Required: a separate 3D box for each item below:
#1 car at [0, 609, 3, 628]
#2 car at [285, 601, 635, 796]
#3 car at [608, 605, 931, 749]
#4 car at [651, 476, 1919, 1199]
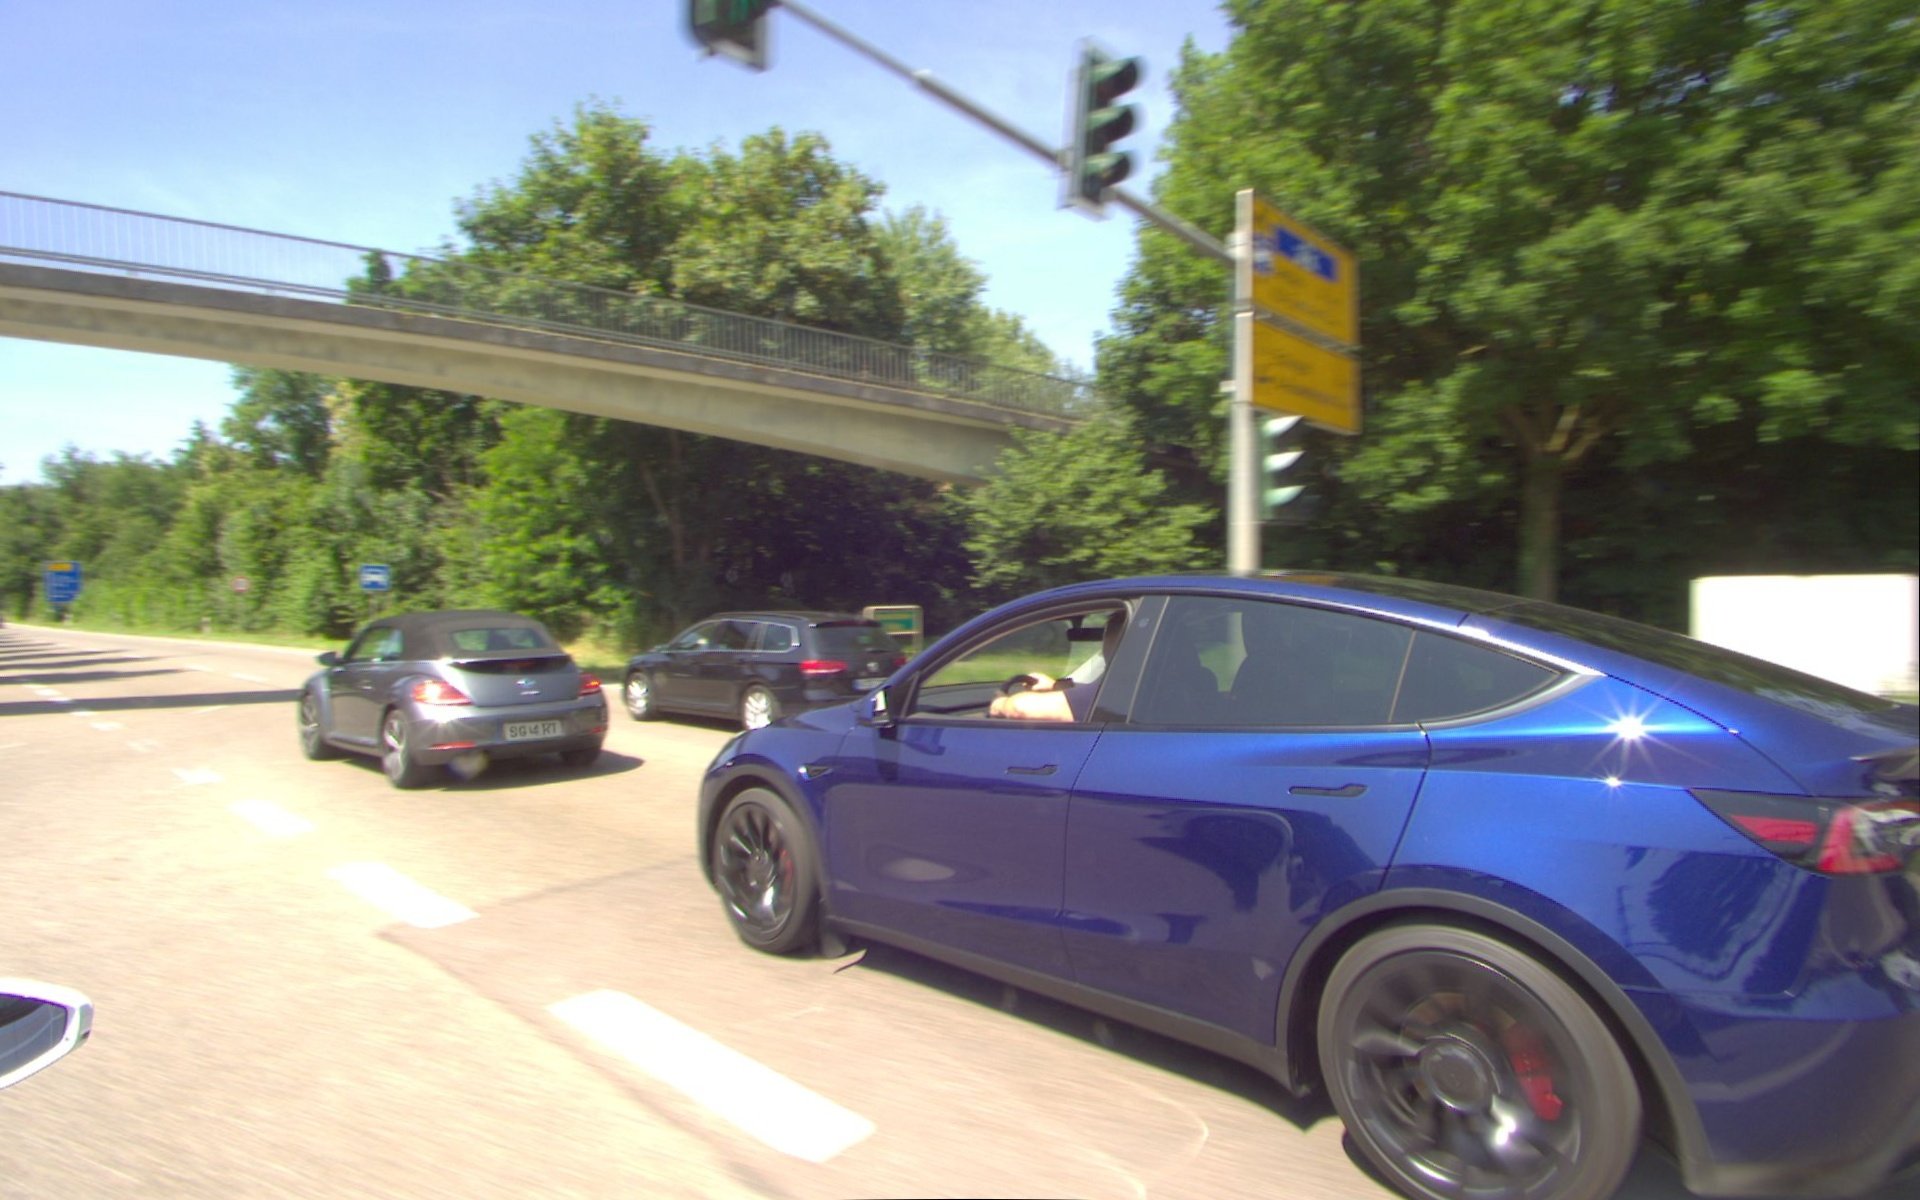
[{"bbox_3d":[-89.117,1.711,91.733,2.028,1.722,5.037,-2,1,-43],"label":"car"},{"bbox_3d":[-4.993,0.785,9.767,3.897,1.497,1.889,0,-1,44],"label":"car"},{"bbox_3d":[-2.536,0.830,12.634,4.334,1.497,1.889,0,-1,44],"label":"car"},{"bbox_3d":[0.781,0.639,3.962,4.471,1.666,1.890,0,-1,43],"label":"car"}]
